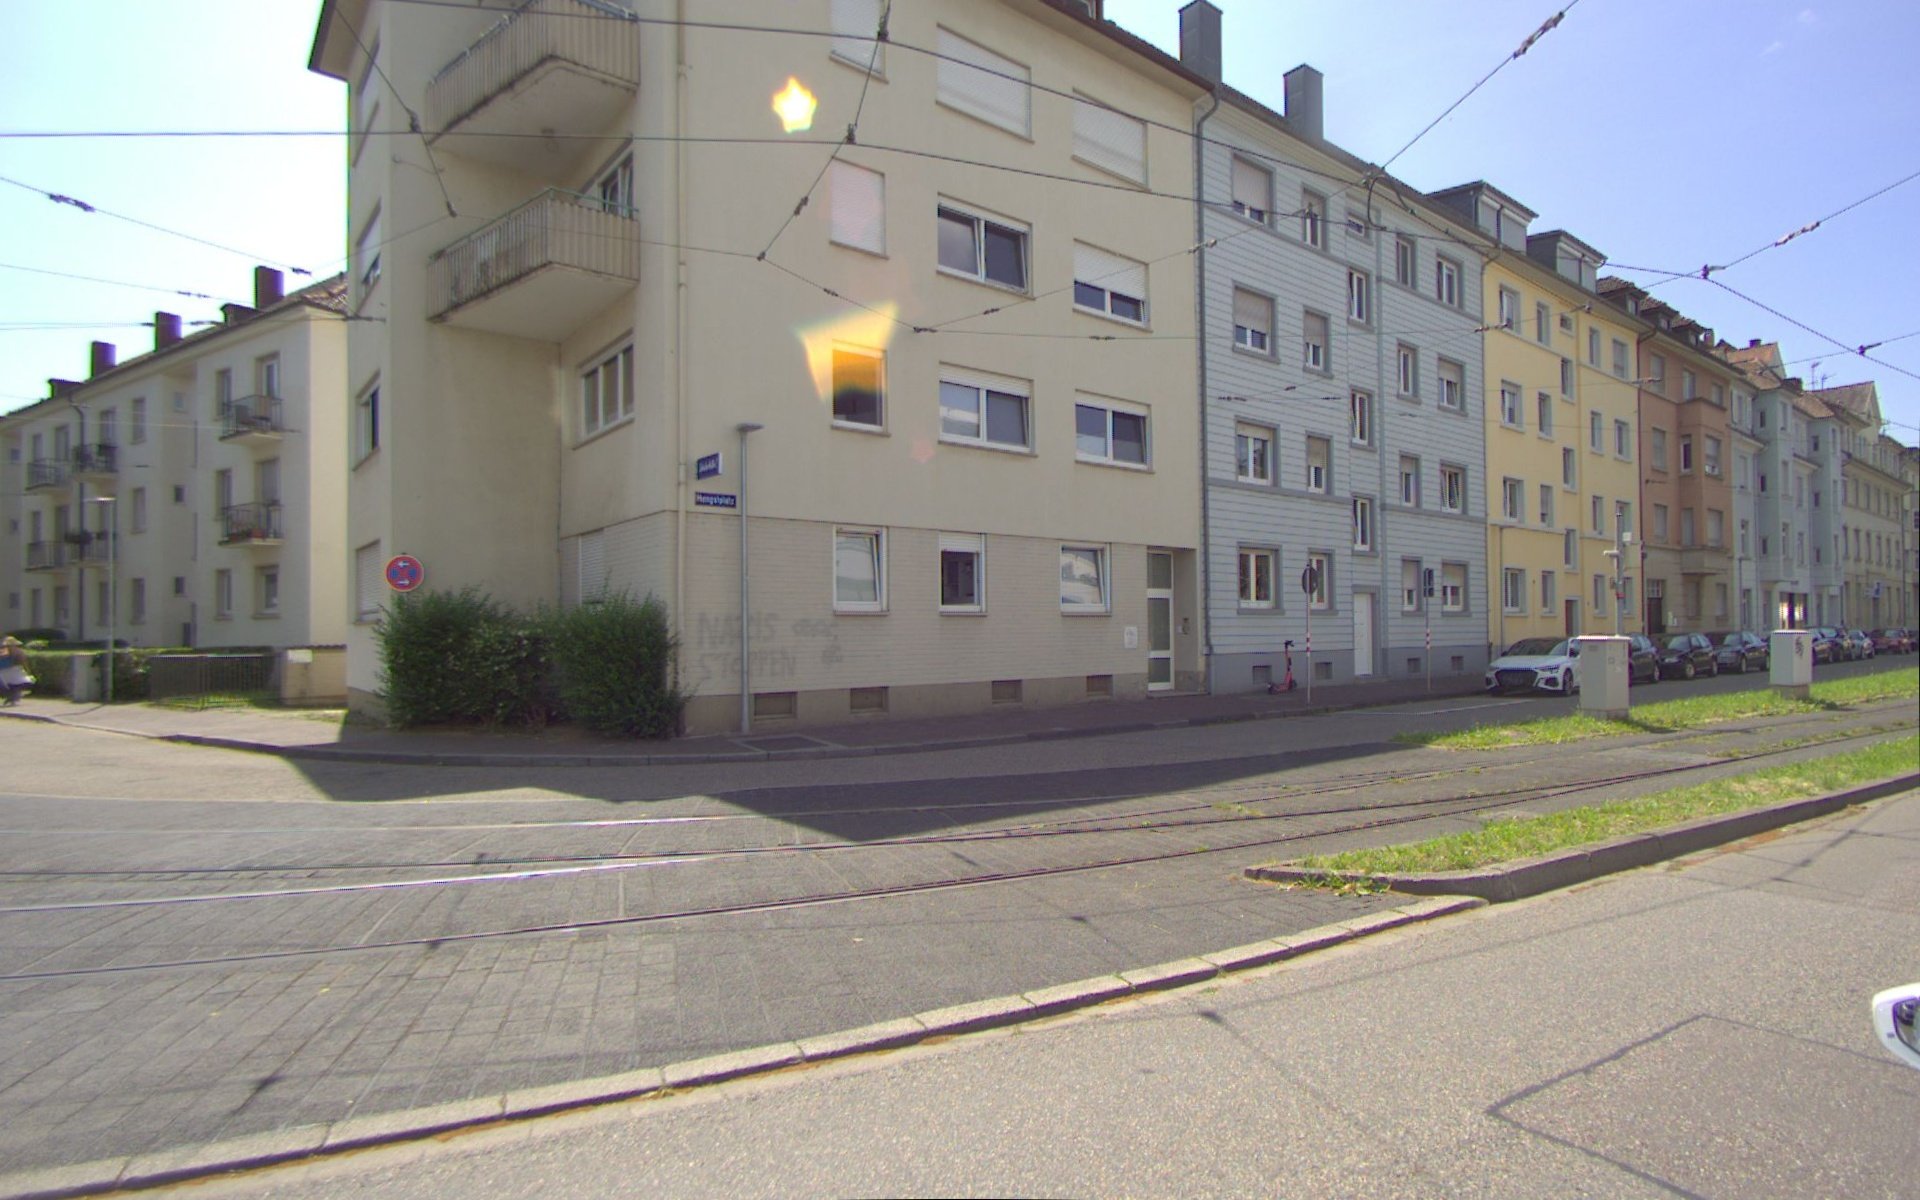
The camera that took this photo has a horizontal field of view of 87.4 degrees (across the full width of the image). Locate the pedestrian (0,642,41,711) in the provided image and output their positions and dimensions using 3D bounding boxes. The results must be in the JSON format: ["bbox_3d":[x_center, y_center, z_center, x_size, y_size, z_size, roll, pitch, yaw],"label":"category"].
[{"bbox_3d":[-22.388,1.789,23.763,0.731,1.580,0.776,-1,-1,30],"label":"pedestrian"}]

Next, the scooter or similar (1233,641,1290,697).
[{"bbox_3d":[7.002,1.577,23.326,1.309,1.239,0.633,2,-1,-39],"label":"scooter or similar"}]

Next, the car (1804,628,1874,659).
[{"bbox_3d":[42.278,2.065,48.293,4.214,1.374,1.793,0,-3,-39],"label":"car"}]

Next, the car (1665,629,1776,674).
[{"bbox_3d":[26.951,1.798,35.556,4.819,1.416,1.914,0,-3,-38],"label":"car"}]

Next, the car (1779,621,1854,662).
[{"bbox_3d":[38.698,1.870,45.347,4.107,1.707,1.822,0,-3,-39],"label":"car"}]

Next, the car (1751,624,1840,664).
[{"bbox_3d":[34.821,1.821,41.814,4.821,1.510,1.913,0,-3,-39],"label":"car"}]

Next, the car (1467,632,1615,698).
[{"bbox_3d":[14.858,1.624,25.589,4.342,1.470,1.912,1,-4,-41],"label":"car"}]

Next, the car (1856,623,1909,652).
[{"bbox_3d":[50.372,2.022,54.841,3.594,1.470,1.559,0,-3,-39],"label":"car"}]

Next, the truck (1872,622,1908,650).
[{"bbox_3d":[53.488,2.073,57.761,2.573,1.514,1.117,0,-3,-40],"label":"truck"}]

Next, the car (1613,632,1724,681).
[{"bbox_3d":[22.664,1.768,32.095,4.106,1.418,1.817,0,-3,-39],"label":"car"}]

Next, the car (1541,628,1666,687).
[{"bbox_3d":[18.784,1.637,29.266,4.292,1.524,1.911,1,-3,-41],"label":"car"}]

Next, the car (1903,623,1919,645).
[{"bbox_3d":[61.920,2.149,64.343,3.824,1.378,1.673,0,-3,-39],"label":"car"}]

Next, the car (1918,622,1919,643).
[{"bbox_3d":[66.280,2.147,67.940,3.824,1.408,1.673,0,-3,-39],"label":"car"}]
